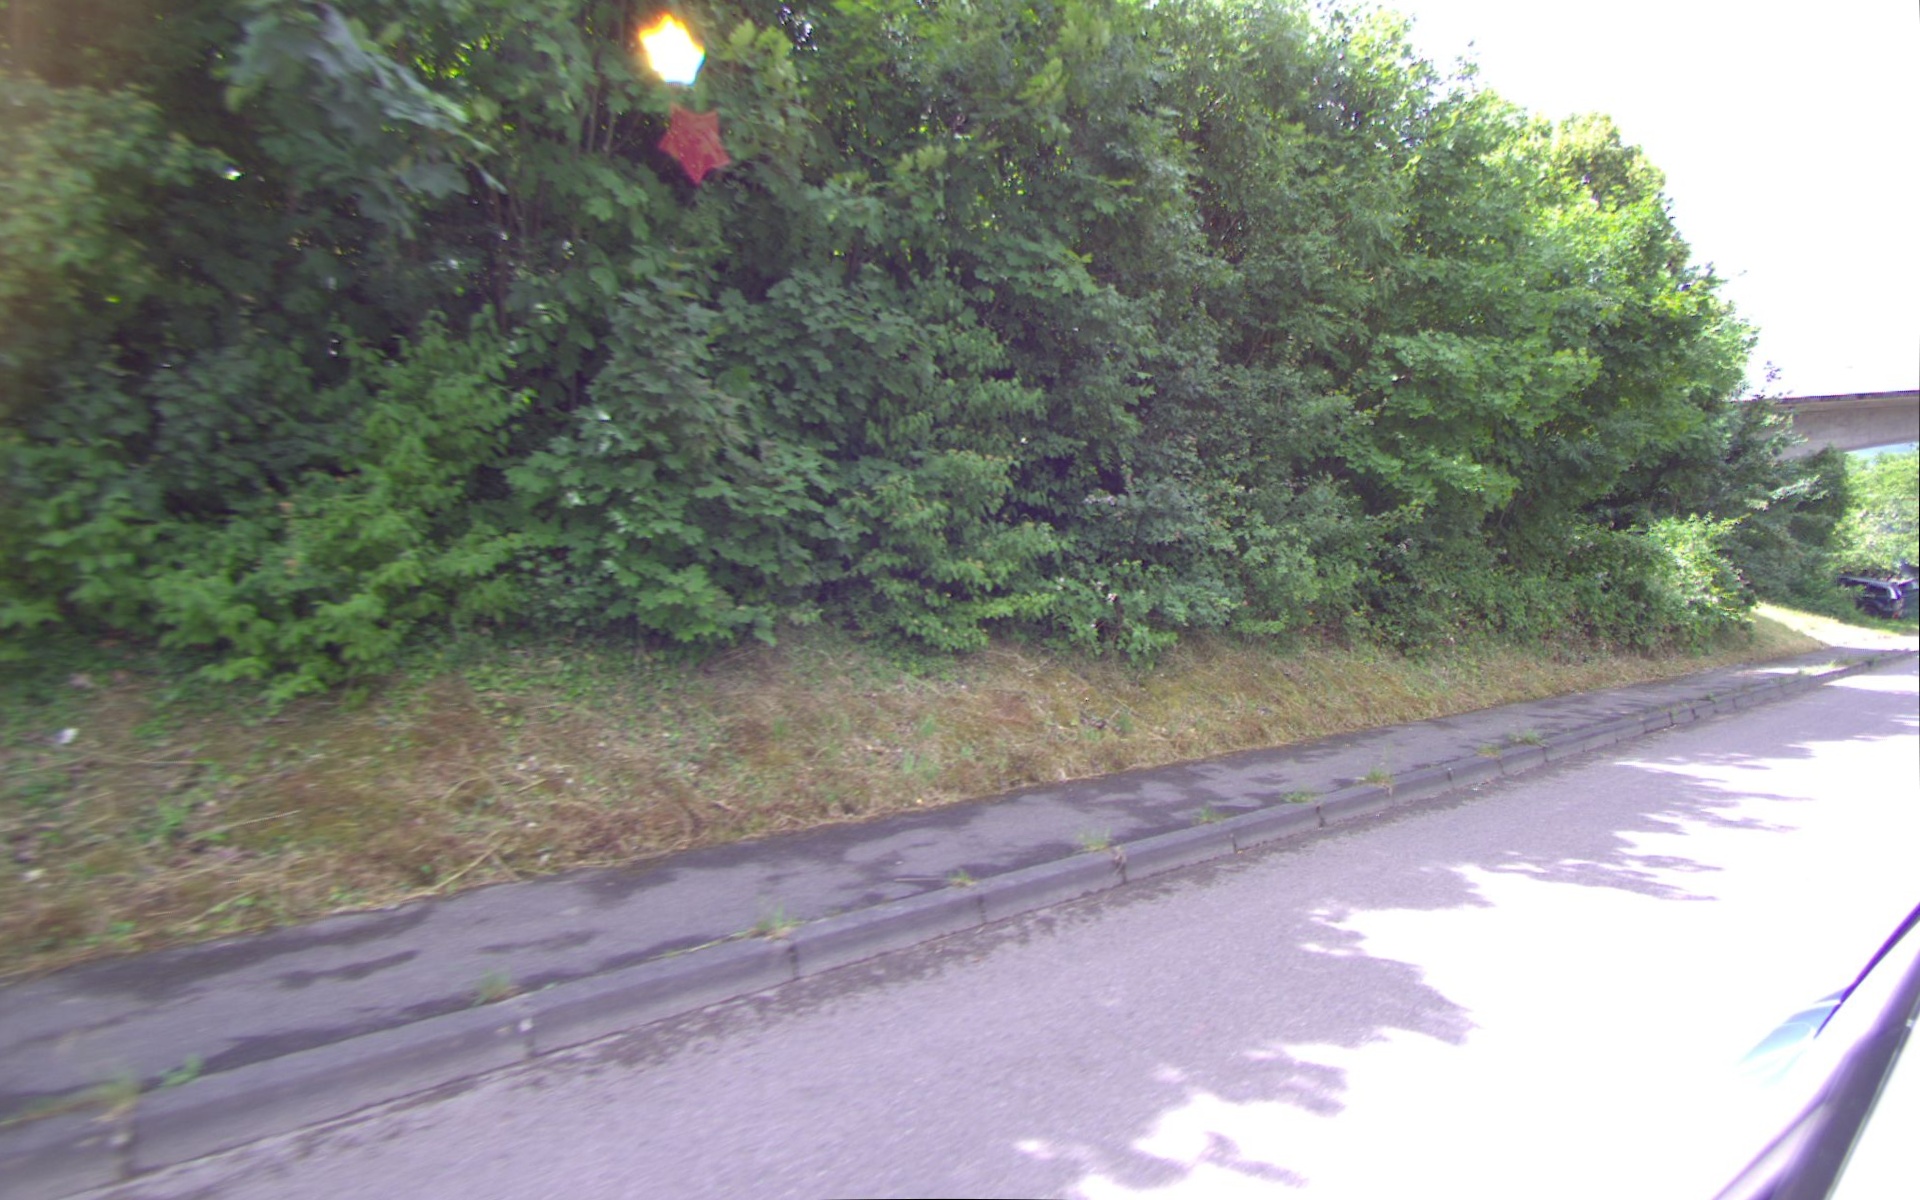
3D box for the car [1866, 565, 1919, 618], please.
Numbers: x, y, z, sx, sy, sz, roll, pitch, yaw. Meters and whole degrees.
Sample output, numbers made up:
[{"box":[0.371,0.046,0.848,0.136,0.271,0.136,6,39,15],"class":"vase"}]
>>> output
[{"box":[36.495,-0.095,36.988,1.963,1.689,4.546,-4,11,-36],"class":"car"}]
